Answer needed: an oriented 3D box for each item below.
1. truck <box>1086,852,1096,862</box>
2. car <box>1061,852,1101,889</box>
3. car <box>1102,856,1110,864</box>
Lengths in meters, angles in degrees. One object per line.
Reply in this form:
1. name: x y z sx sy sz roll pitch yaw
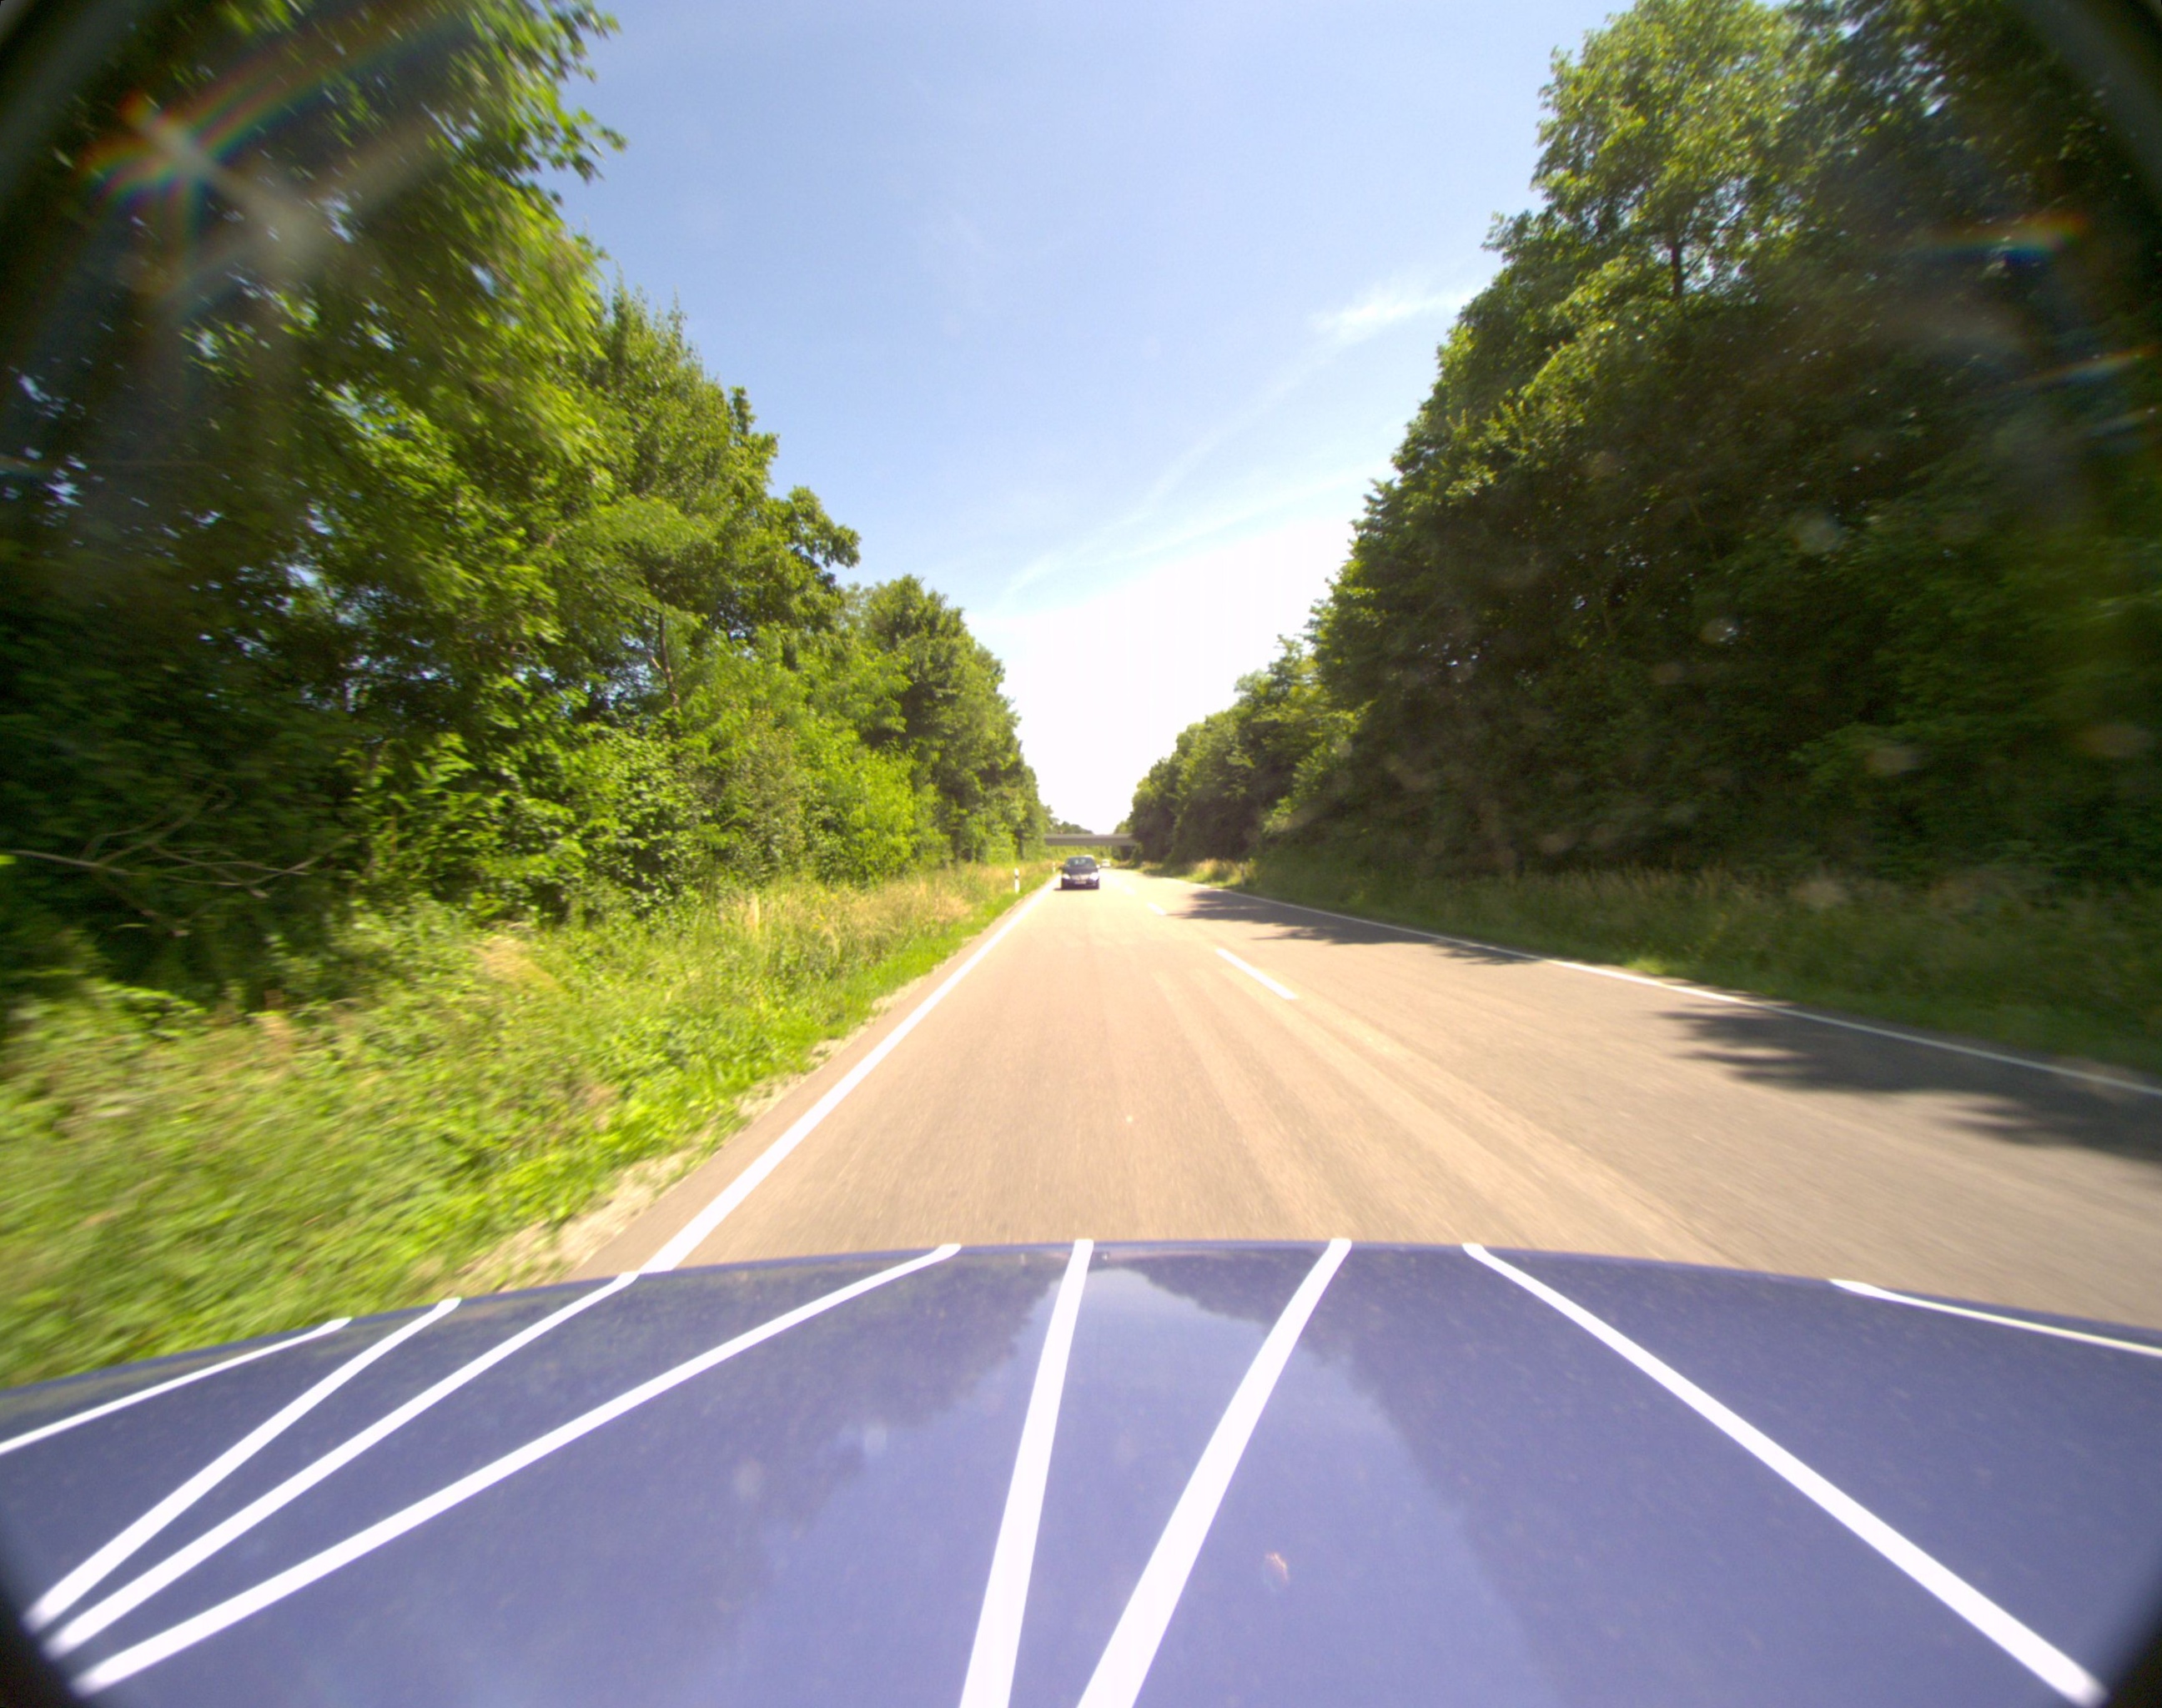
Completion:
1. truck: 3.155 0.940 238.422 2.577 3.111 11.198 -3 0 0
2. car: 0.022 0.794 36.746 1.784 1.675 4.779 0 -1 0
3. car: 4.962 1.128 152.818 1.516 1.583 3.793 0 0 0
